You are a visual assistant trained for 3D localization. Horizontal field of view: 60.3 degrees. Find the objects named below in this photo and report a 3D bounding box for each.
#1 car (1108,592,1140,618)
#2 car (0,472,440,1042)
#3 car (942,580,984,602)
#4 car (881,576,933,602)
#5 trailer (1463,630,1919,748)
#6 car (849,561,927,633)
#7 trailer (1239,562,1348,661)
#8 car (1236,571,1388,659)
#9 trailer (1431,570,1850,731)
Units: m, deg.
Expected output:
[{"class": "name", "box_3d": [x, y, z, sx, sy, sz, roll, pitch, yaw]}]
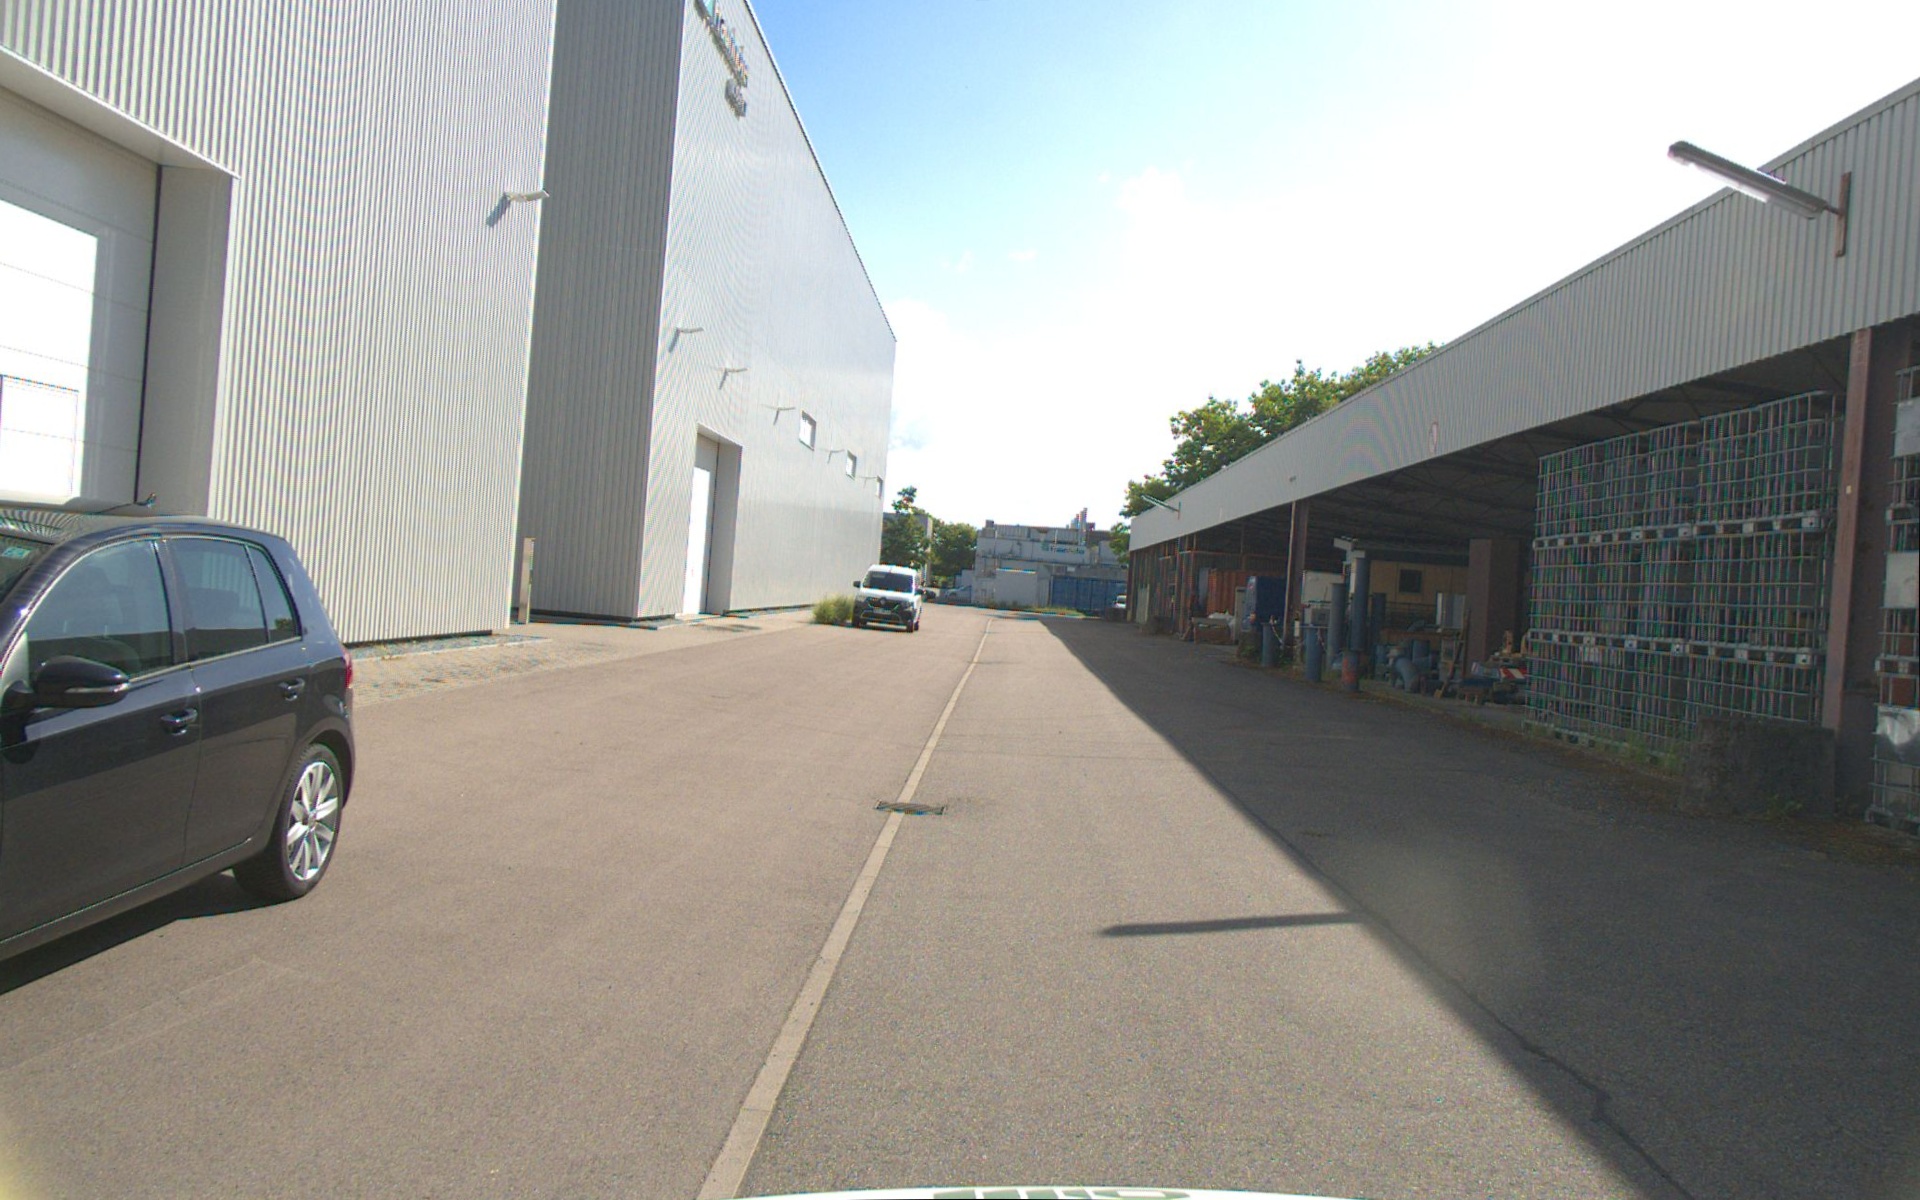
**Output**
[{"class": "car", "box_3d": [11.637, 0.373, 117.619, 1.922, 1.591, 4.061, 6, 1, 3]}, {"class": "car", "box_3d": [-3.340, 0.332, 5.343, 1.719, 1.525, 4.295, 6, 1, 2]}, {"class": "car", "box_3d": [0.289, -0.873, 158.206, 3.907, 1.625, 1.848, 6, -2, 0]}, {"class": "car", "box_3d": [-4.166, -0.861, 130.417, 3.907, 1.625, 1.741, 6, -2, 0]}, {"class": "trailer", "box_3d": [10.174, 1.203, 22.880, 5.729, 1.152, 2.141, 4, 1, -1]}, {"class": "car", "box_3d": [-2.045, -0.105, 48.107, 1.782, 1.817, 4.406, 6, 1, 2]}, {"class": "trailer", "box_3d": [8.913, 0.306, 44.386, 2.471, 2.440, 1.727, 4, -1, 2]}, {"class": "car", "box_3d": [11.256, 0.501, 53.121, 4.342, 2.349, 1.916, 6, -2, 2]}, {"class": "trailer", "box_3d": [10.582, 0.744, 26.079, 5.647, 2.067, 2.078, 4, 1, 2]}]
